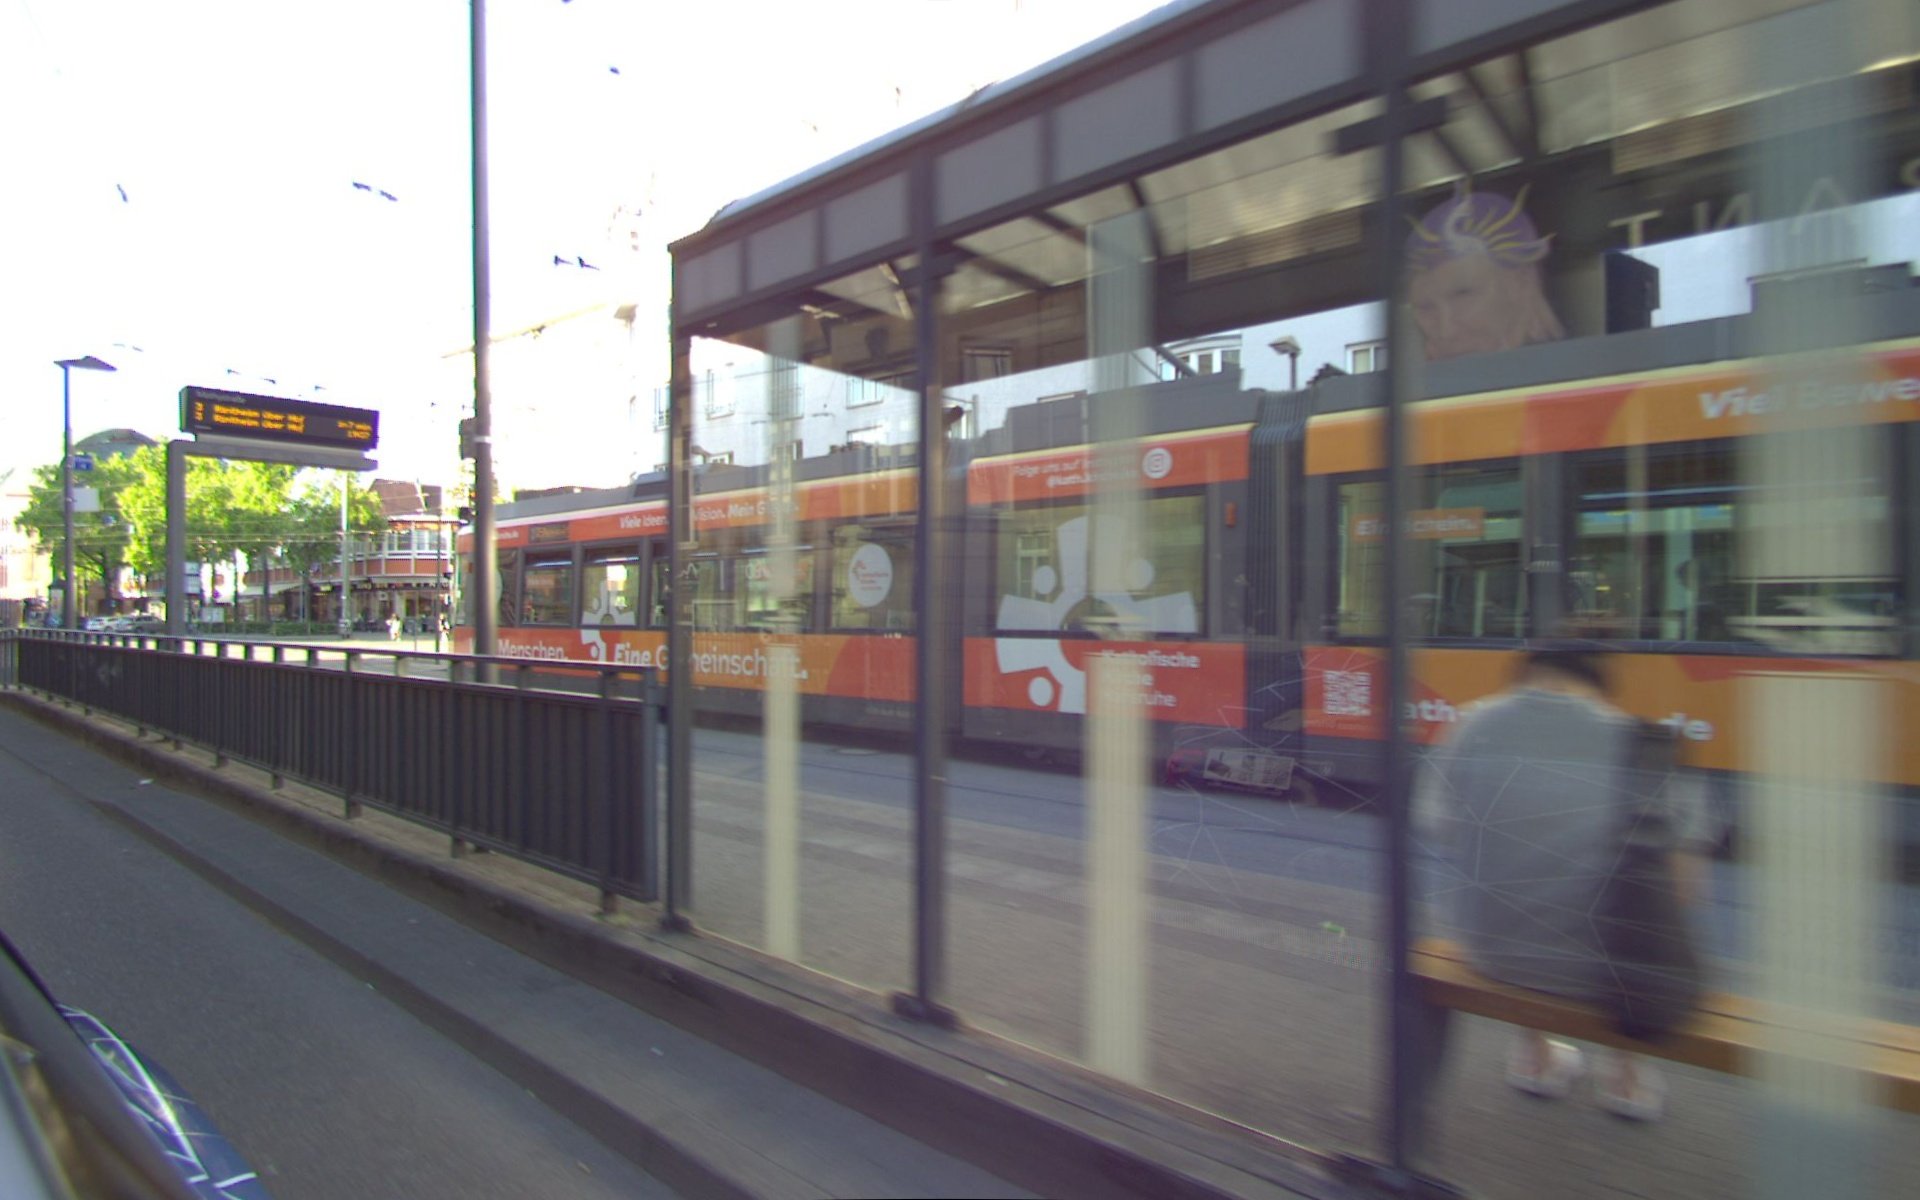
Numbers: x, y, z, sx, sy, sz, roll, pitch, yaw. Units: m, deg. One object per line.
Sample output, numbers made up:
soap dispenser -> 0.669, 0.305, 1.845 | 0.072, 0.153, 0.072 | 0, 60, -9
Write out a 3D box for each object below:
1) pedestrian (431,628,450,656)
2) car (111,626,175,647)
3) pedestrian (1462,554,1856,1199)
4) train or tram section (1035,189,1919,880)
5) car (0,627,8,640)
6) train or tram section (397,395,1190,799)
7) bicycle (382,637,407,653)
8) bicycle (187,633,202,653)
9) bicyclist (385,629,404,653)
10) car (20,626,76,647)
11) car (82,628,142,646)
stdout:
pedestrian -> -32.084, 2.591, 62.493 | 0.857, 1.695, 0.697 | 3, -5, -41
car -> -67.738, 3.014, 83.989 | 1.777, 1.566, 3.989 | -1, 0, 9
pedestrian -> 1.367, 0.534, 1.966 | 0.536, 1.185, 0.677 | -2, -2, 41
train or tram section -> 7.218, -0.350, 5.002 | 14.942, 3.516, 2.855 | 0, 0, 41
car -> -120.468, 4.162, 126.352 | 3.995, 1.615, 1.887 | -1, -1, 38
train or tram section -> -3.779, -0.008, 14.538 | 14.159, 3.516, 2.855 | 0, 0, 41
bicycle -> -35.382, 2.808, 63.293 | 0.831, 0.934, 2.267 | 1, -2, -42
bicycle -> -50.622, 2.822, 66.953 | 0.574, 1.244, 1.858 | 0, -1, -44
bicyclist -> -35.392, 2.585, 63.314 | 0.831, 1.478, 0.897 | 1, -2, -43
car -> -91.647, 3.605, 101.749 | 1.888, 1.979, 3.993 | -1, 0, 5
car -> -76.074, 3.297, 90.878 | 1.777, 1.486, 3.989 | -1, 0, 9
